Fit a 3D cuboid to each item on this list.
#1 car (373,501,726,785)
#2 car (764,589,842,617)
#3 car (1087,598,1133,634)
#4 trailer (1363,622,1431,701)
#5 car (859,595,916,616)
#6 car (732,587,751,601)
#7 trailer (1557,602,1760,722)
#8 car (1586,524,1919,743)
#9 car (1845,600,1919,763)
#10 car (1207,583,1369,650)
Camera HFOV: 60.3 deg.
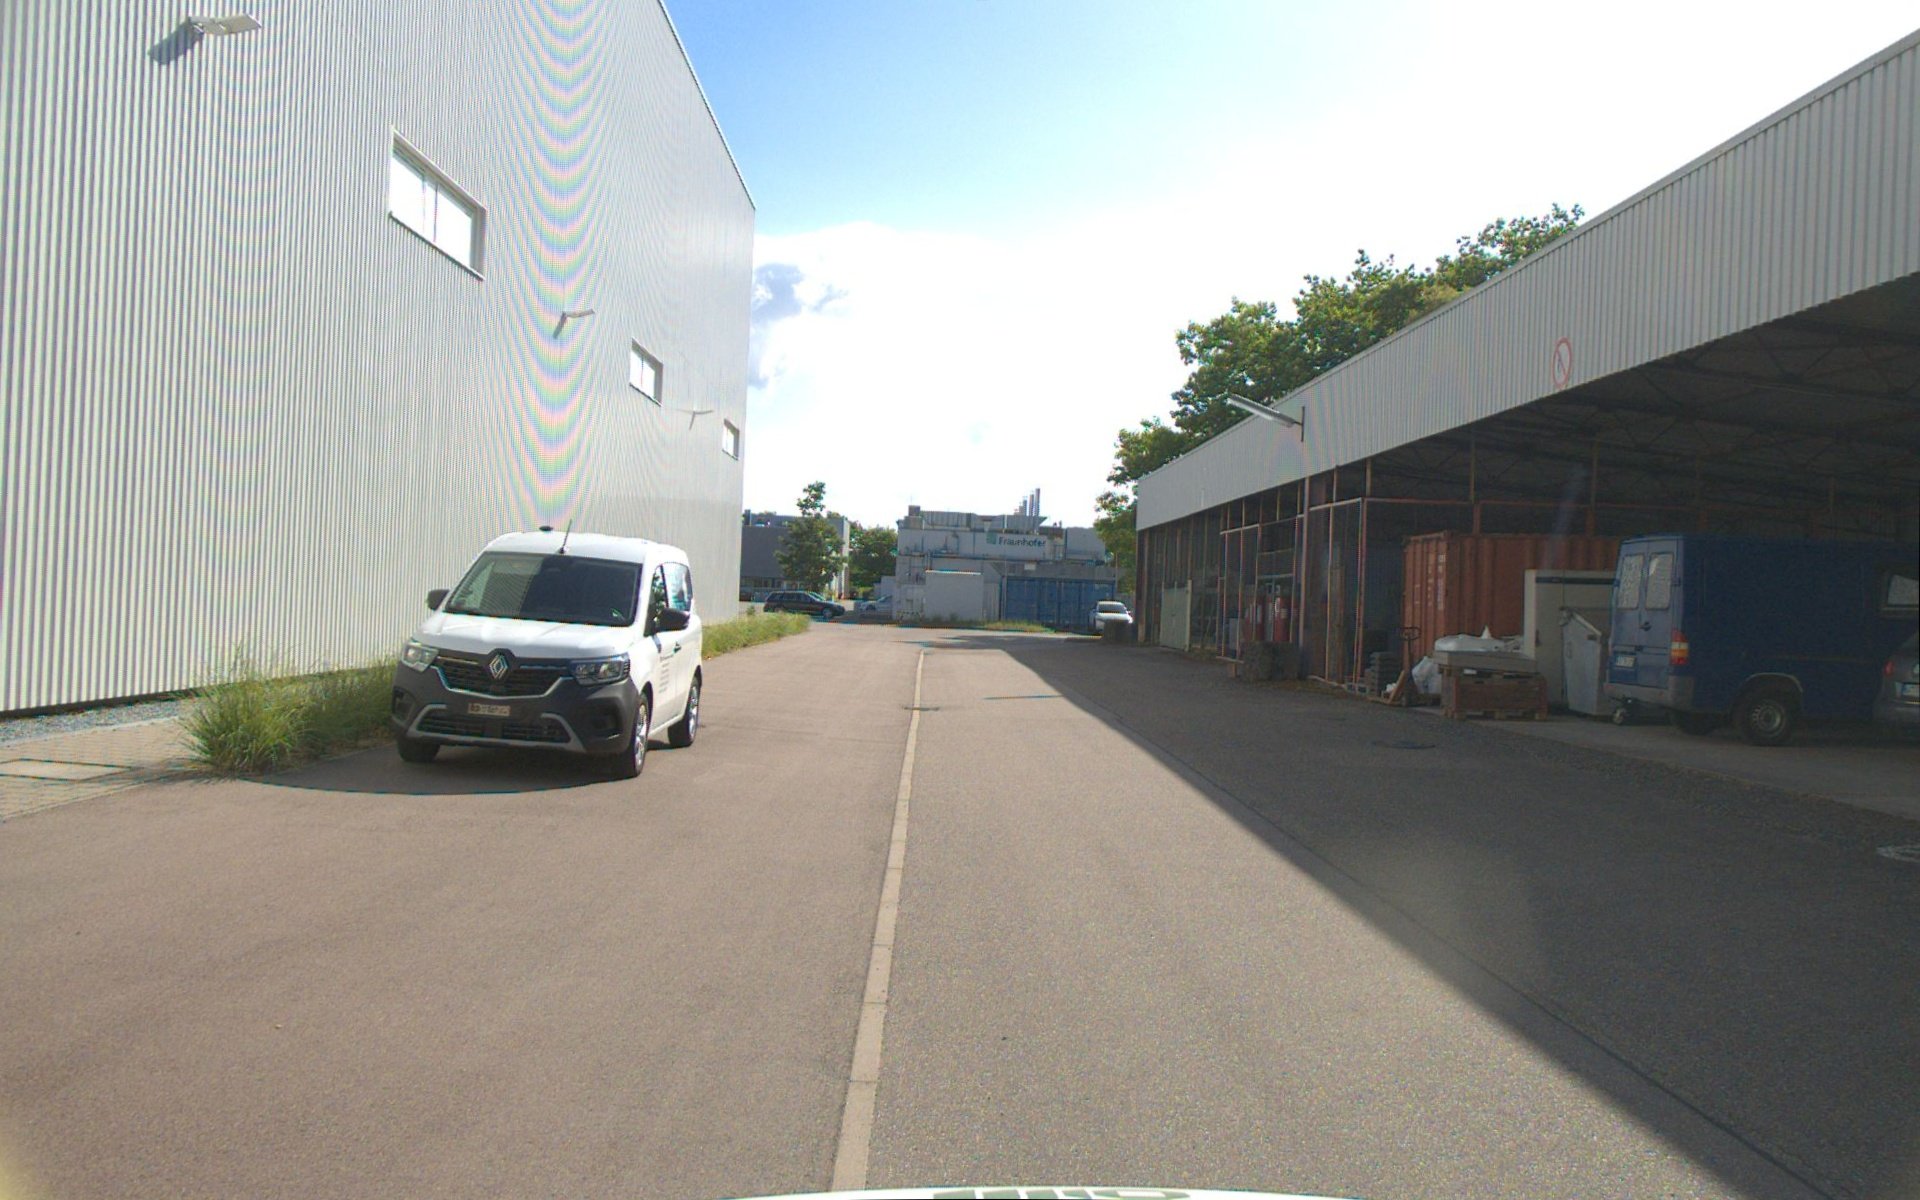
[{"bbox_3d":[-3.149,0.311,13.687,1.747,1.847,4.600,4,0,-1],"label":"car"},{"bbox_3d":[-9.030,0.170,95.510,4.358,1.558,1.823,1,-1,-2],"label":"car"},{"bbox_3d":[7.527,0.782,83.426,1.939,1.630,4.378,1,1,0],"label":"car"},{"bbox_3d":[6.546,0.903,24.831,0.541,1.138,1.546,1,0,-3],"label":"trailer"},{"bbox_3d":[-5.414,0.413,123.487,4.216,1.483,1.823,1,-1,-2],"label":"car"},{"bbox_3d":[-25.161,-0.685,190.488,1.821,1.521,4.027,1,0,-3],"label":"car"},{"bbox_3d":[9.143,0.779,21.781,1.996,1.492,1.739,1,0,3],"label":"trailer"},{"bbox_3d":[10.300,0.407,19.196,5.225,2.321,2.152,2,-1,-2],"label":"car"},{"bbox_3d":[11.015,0.830,16.056,3.886,1.540,1.838,2,-1,-4],"label":"car"},{"bbox_3d":[10.480,0.529,53.034,4.681,1.949,1.996,2,-1,-9],"label":"car"}]
